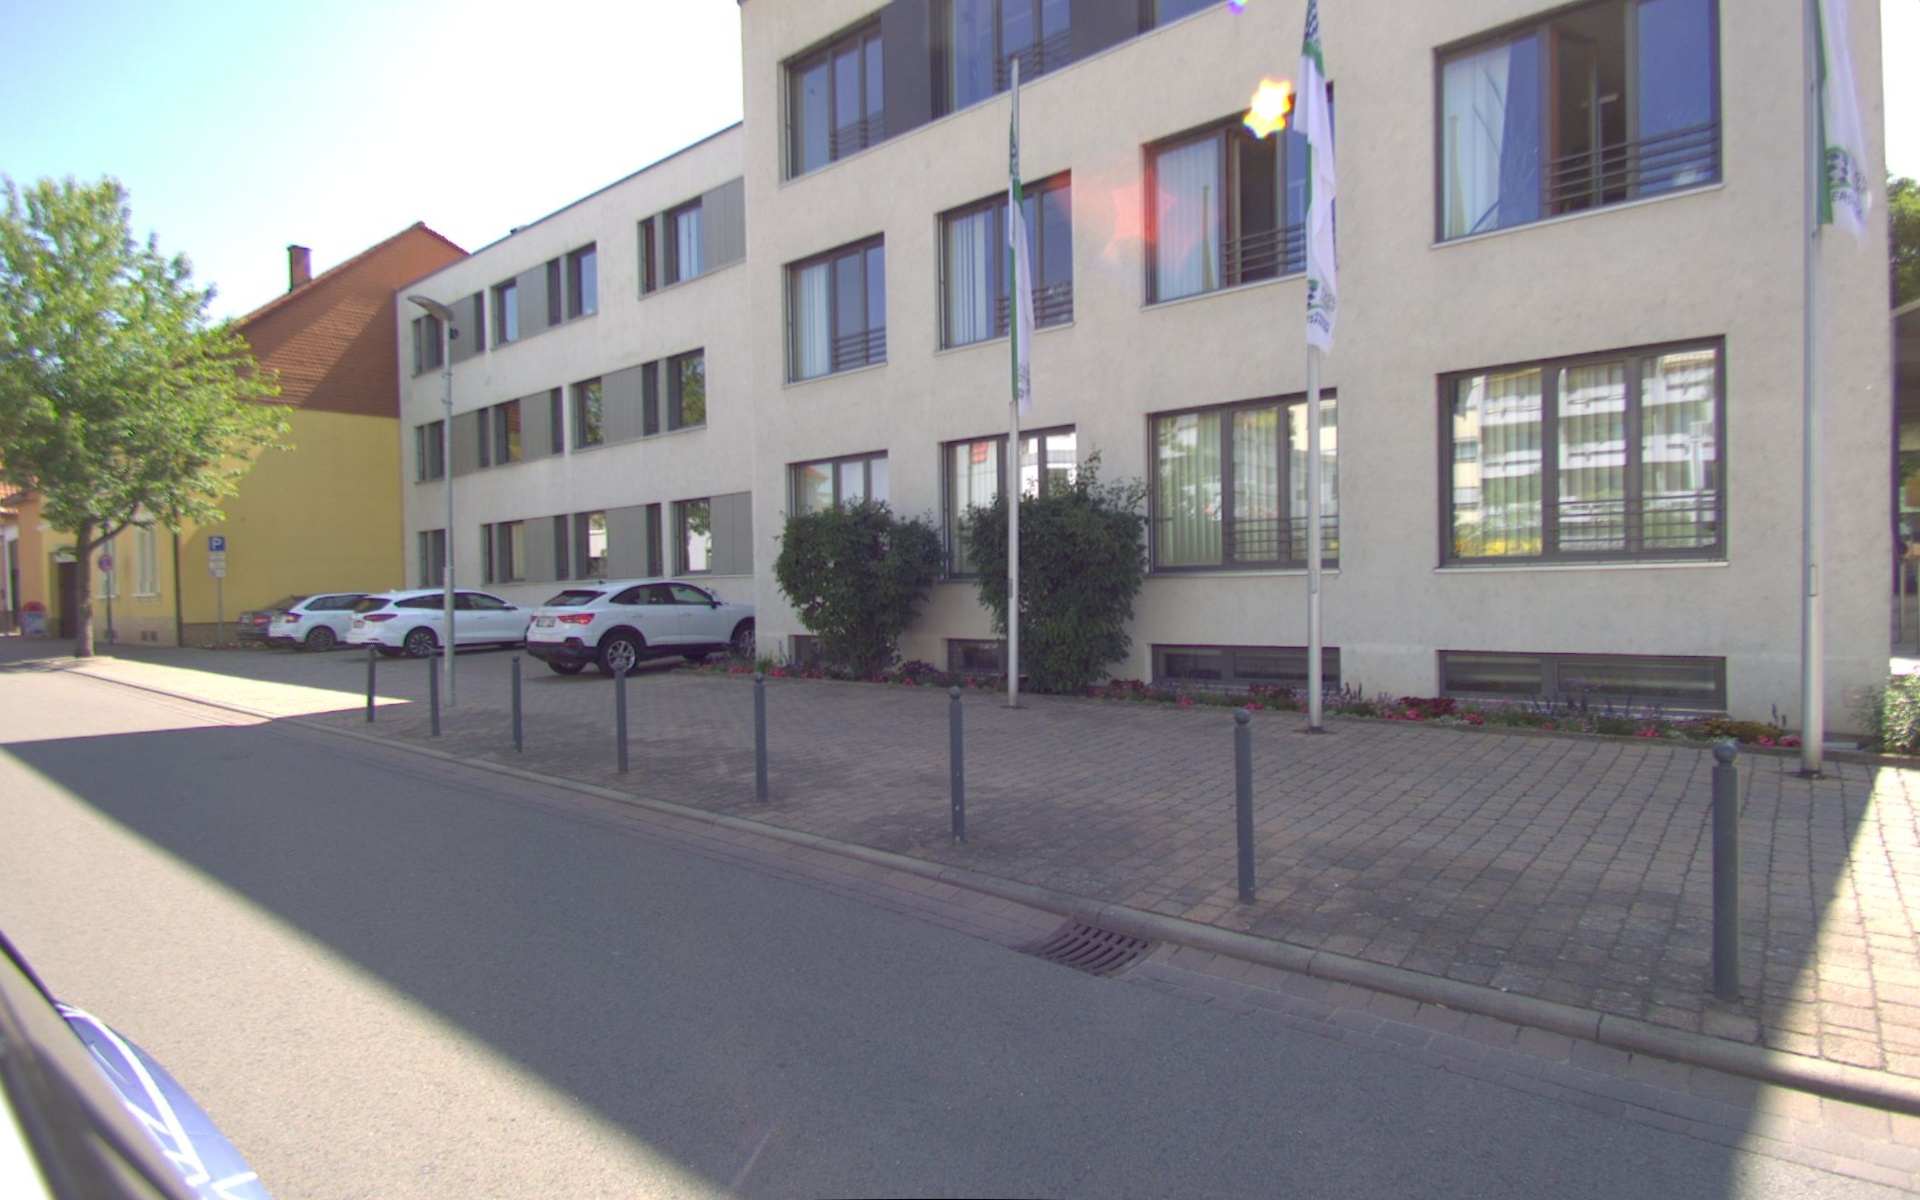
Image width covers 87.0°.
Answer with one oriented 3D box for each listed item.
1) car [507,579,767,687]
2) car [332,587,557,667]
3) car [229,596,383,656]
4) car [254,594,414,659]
[{"bbox_3d":[-5.459,0.472,17.493,1.747,1.559,3.949,-1,2,38],"label":"car"},{"bbox_3d":[-11.599,0.537,23.027,1.512,1.490,4.270,0,2,40],"label":"car"},{"bbox_3d":[-17.616,0.669,27.361,1.373,1.412,3.218,-1,2,38],"label":"car"},{"bbox_3d":[-15.962,0.633,25.895,1.642,1.461,3.099,-1,2,41],"label":"car"}]
